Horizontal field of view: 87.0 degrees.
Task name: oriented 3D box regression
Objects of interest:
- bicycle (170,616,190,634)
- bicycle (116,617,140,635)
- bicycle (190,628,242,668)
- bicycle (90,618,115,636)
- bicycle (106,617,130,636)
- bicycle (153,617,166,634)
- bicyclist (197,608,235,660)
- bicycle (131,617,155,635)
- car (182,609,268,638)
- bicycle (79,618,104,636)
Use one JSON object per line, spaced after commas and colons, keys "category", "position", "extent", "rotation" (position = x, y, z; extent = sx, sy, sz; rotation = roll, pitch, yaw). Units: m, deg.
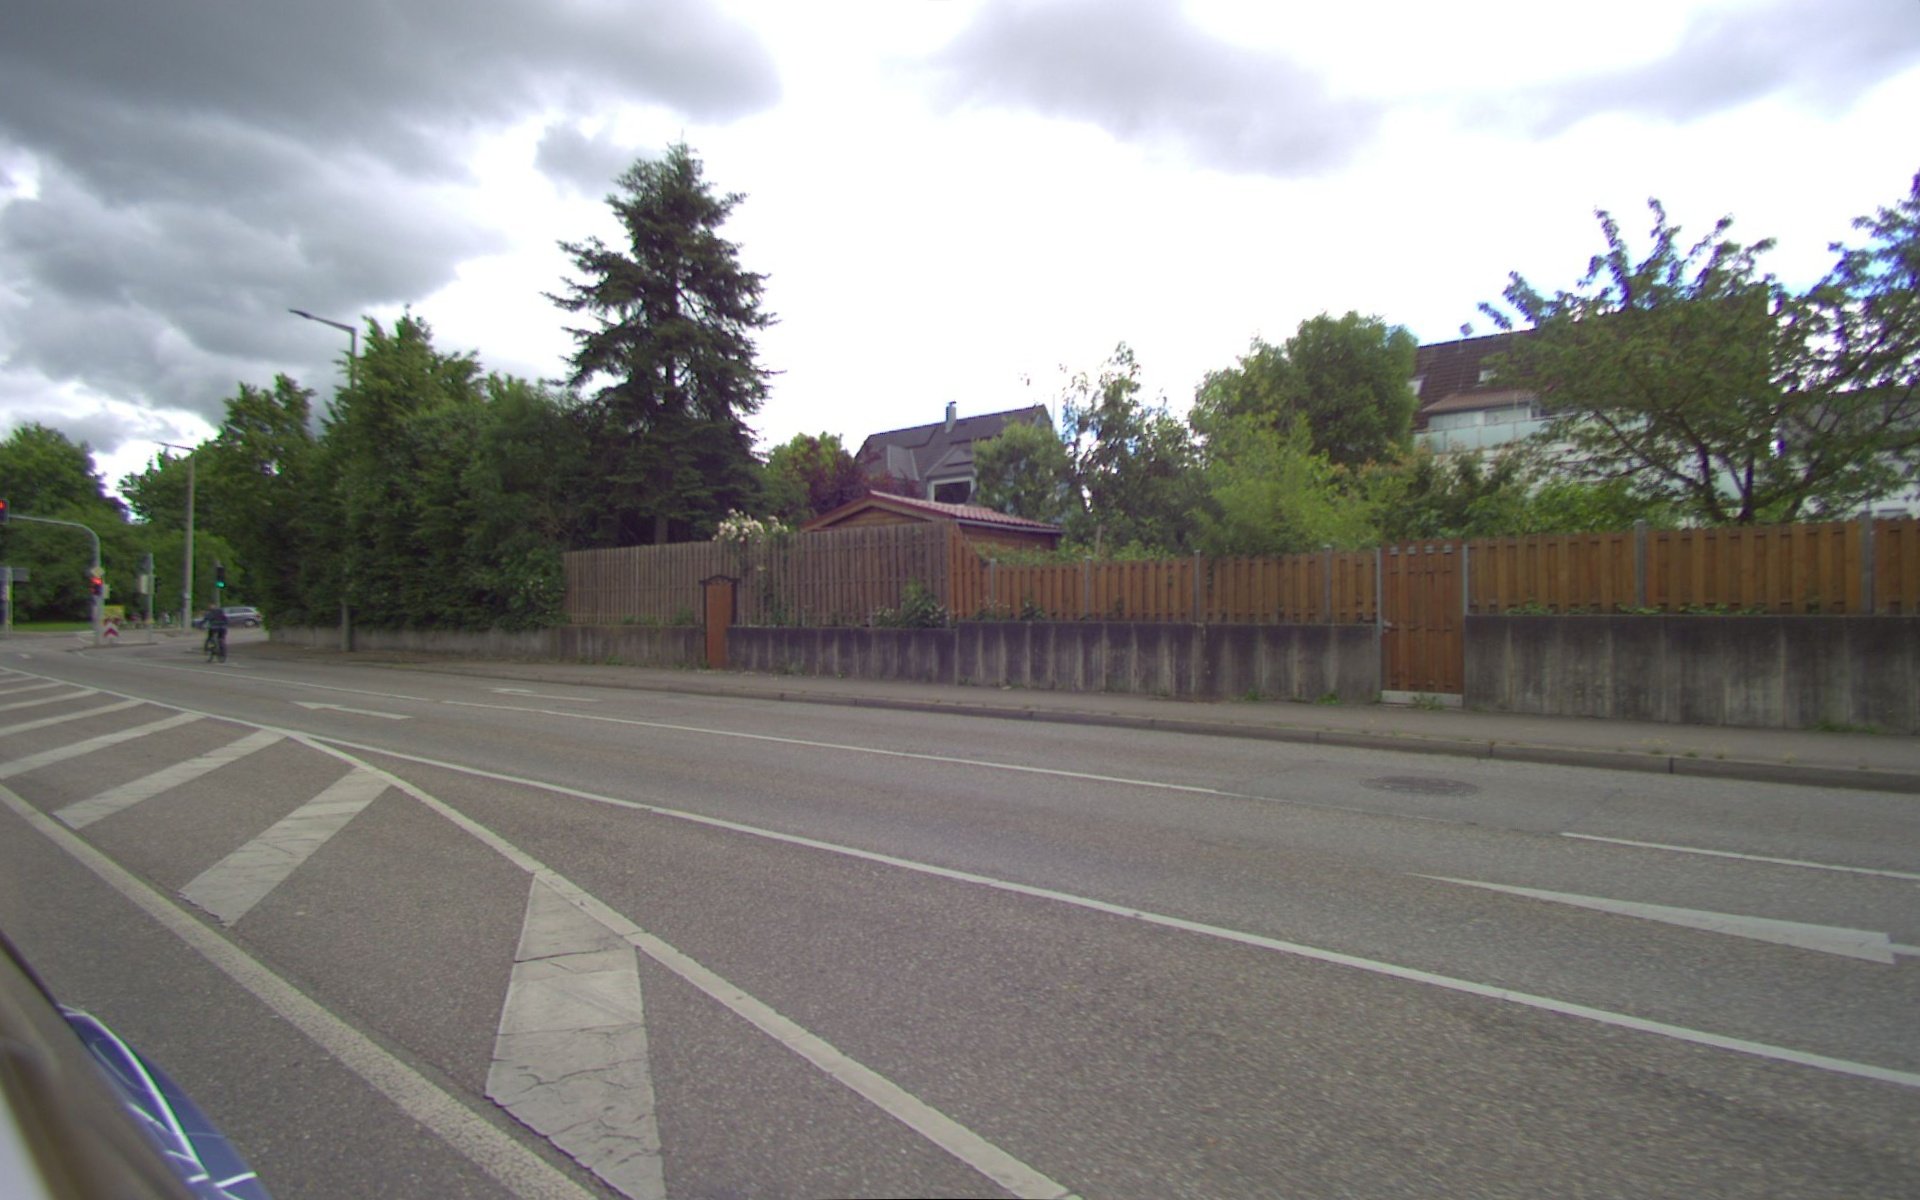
{"category": "bicycle", "position": [-58.973, 1.888, 76.525], "extent": [0.536, 1.262, 1.941], "rotation": [-1, 1, -17]}
{"category": "bicycle", "position": [-61.814, 1.951, 75.202], "extent": [0.537, 1.262, 1.940], "rotation": [-1, 1, -13]}
{"category": "bicycle", "position": [-22.816, 1.453, 31.035], "extent": [2.143, 1.154, 0.636], "rotation": [-1, 0, 36]}
{"category": "bicycle", "position": [-63.405, 1.981, 74.852], "extent": [0.537, 1.262, 1.940], "rotation": [-1, 0, -13]}
{"category": "bicycle", "position": [-62.556, 1.963, 75.192], "extent": [0.537, 1.262, 1.940], "rotation": [-1, 1, -13]}
{"category": "bicycle", "position": [-60.088, 1.913, 75.965], "extent": [0.536, 1.262, 1.941], "rotation": [-1, 1, -33]}
{"category": "bicyclist", "position": [-22.813, 1.026, 31.030], "extent": [0.976, 1.546, 0.636], "rotation": [-1, 0, 36]}
{"category": "bicycle", "position": [-60.958, 1.933, 75.521], "extent": [0.537, 1.262, 1.940], "rotation": [-1, 1, -13]}
{"category": "car", "position": [-51.990, 1.609, 71.688], "extent": [4.664, 1.867, 2.007], "rotation": [-1, 1, -27]}
{"category": "bicycle", "position": [-64.009, 1.995, 74.562], "extent": [0.537, 1.262, 1.940], "rotation": [-1, 1, -13]}
